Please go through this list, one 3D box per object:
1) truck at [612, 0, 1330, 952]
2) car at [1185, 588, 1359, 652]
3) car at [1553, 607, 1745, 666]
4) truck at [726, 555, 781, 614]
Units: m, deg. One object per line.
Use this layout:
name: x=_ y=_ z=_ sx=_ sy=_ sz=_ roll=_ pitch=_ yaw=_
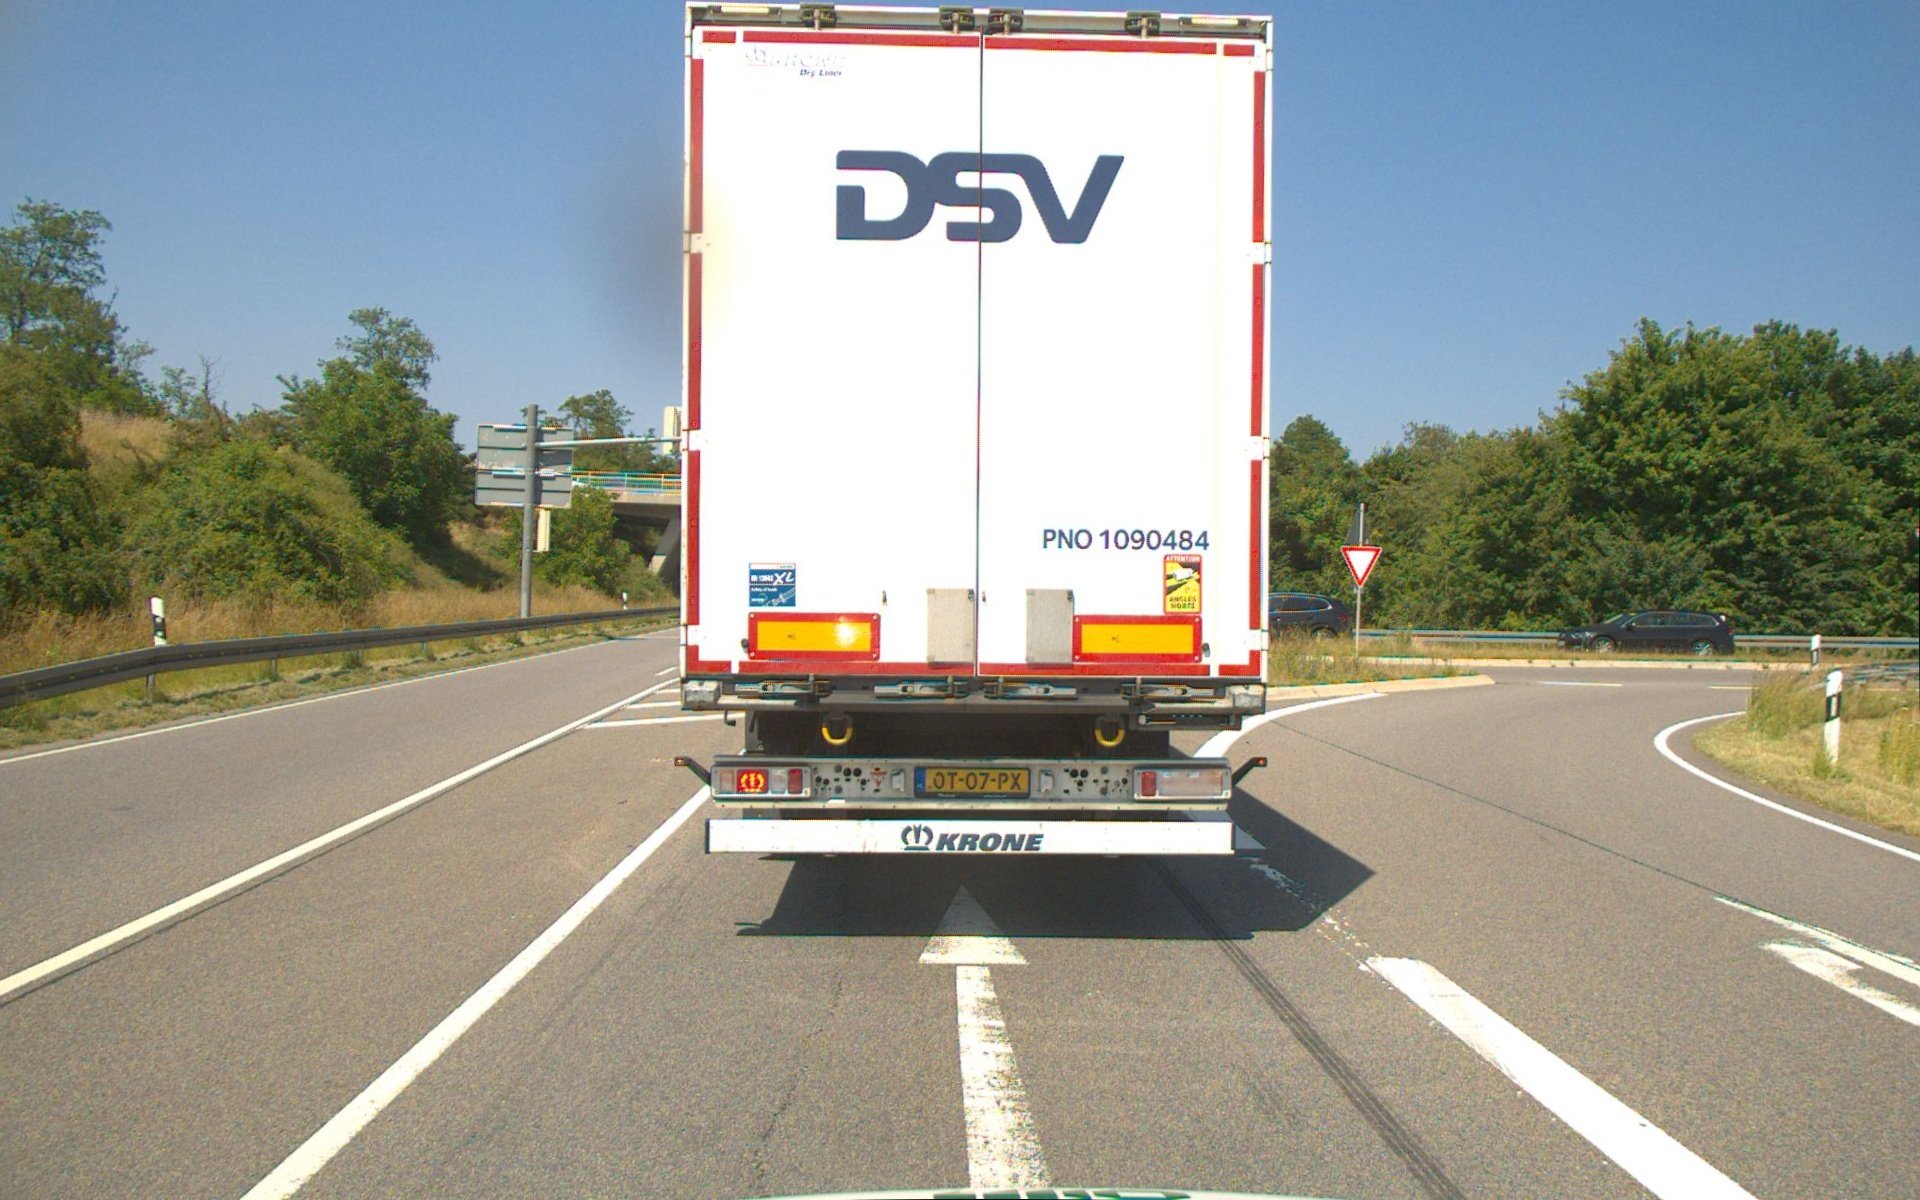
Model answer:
truck: x=-0.058 y=-0.559 z=11.776 sx=2.927 sy=4.011 sz=9.872 roll=1 pitch=0 yaw=-1
car: x=8.359 y=0.527 z=44.544 sx=4.393 sy=1.626 sz=1.768 roll=1 pitch=-1 yaw=2
car: x=19.037 y=0.987 z=45.845 sx=4.583 sy=1.540 sz=1.854 roll=1 pitch=-1 yaw=6
truck: x=-13.111 y=-0.924 z=105.491 sx=2.591 sy=3.600 sz=7.888 roll=1 pitch=0 yaw=-1
